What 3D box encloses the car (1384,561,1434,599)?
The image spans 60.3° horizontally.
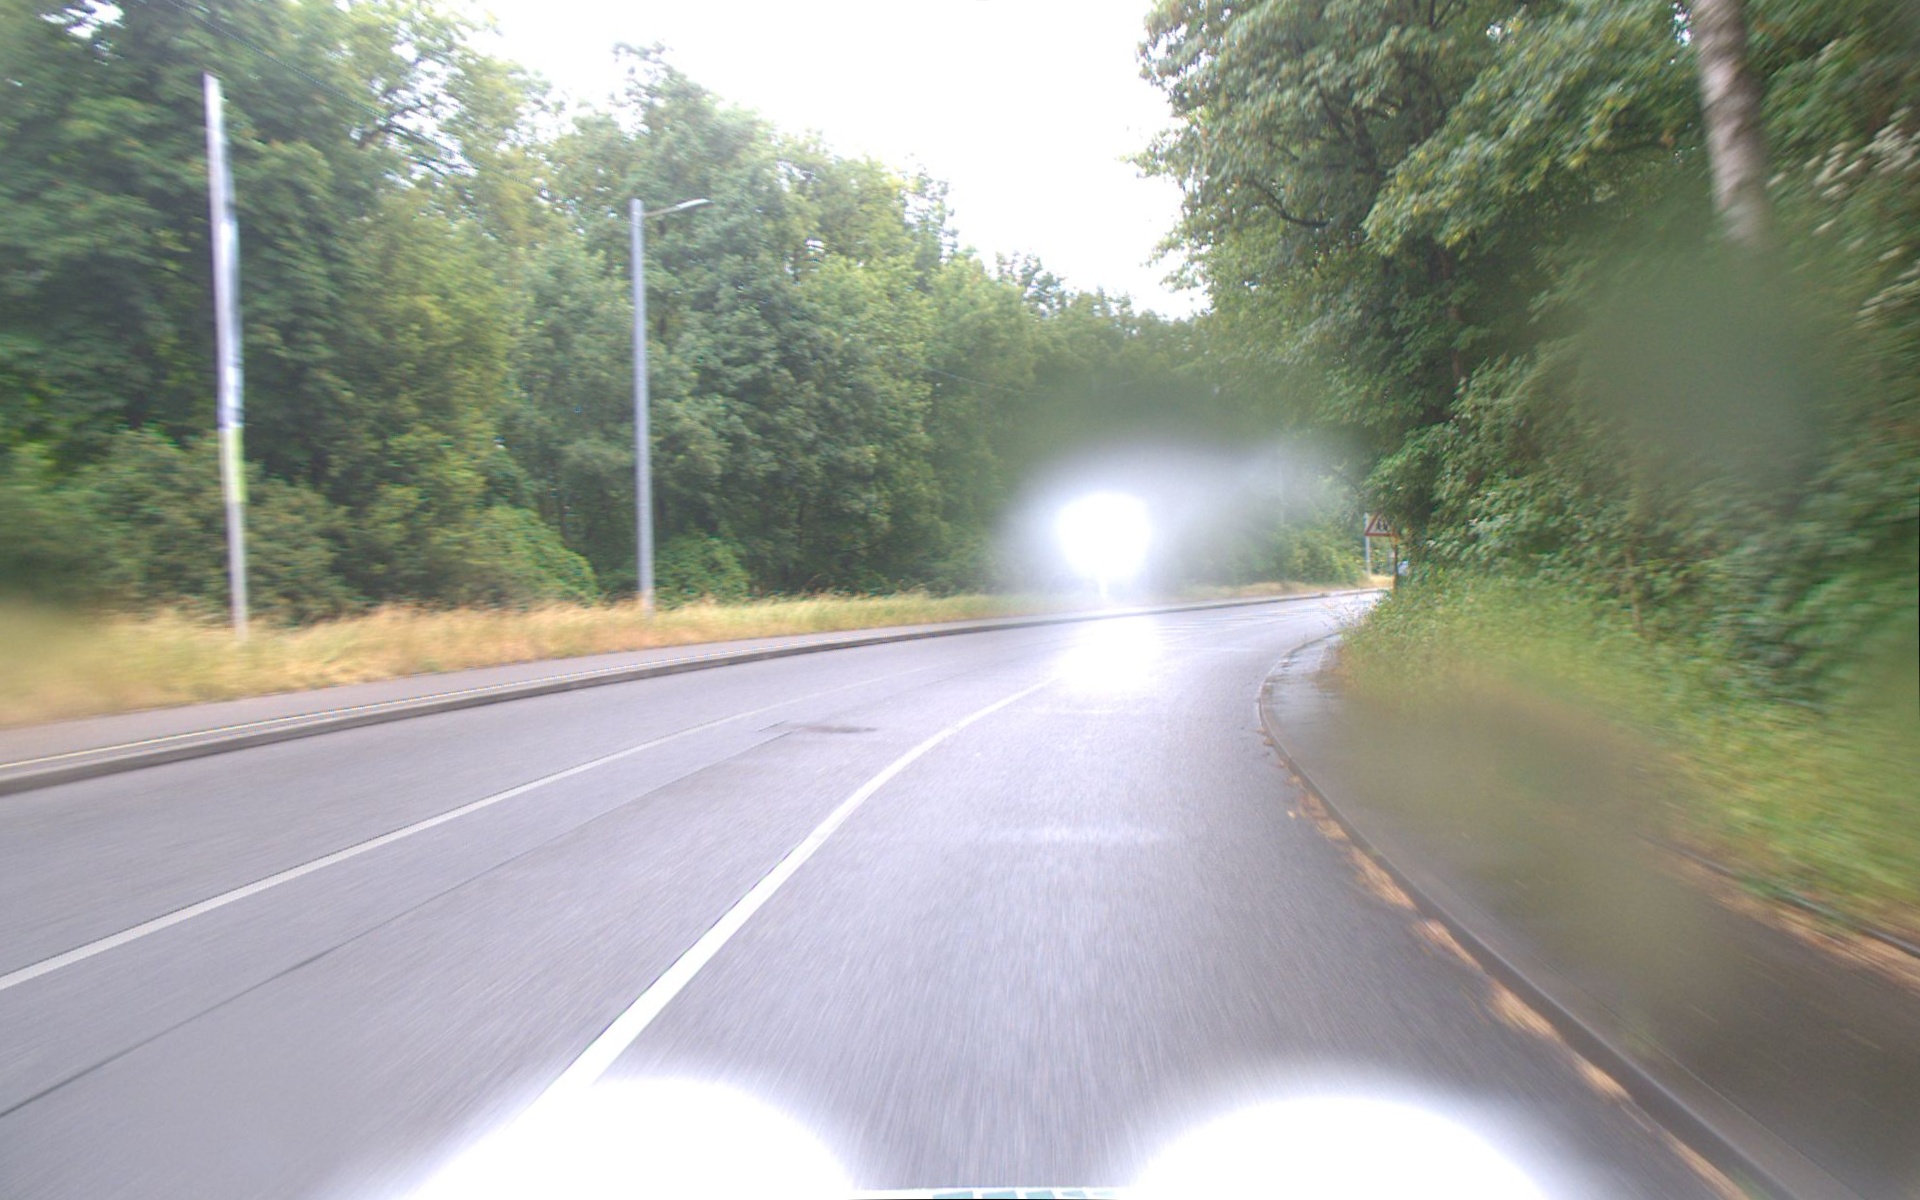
[{"bbox_3d":[19.919,-0.895,73.340,1.634,1.621,3.682,-1,1,23],"label":"car"}]
